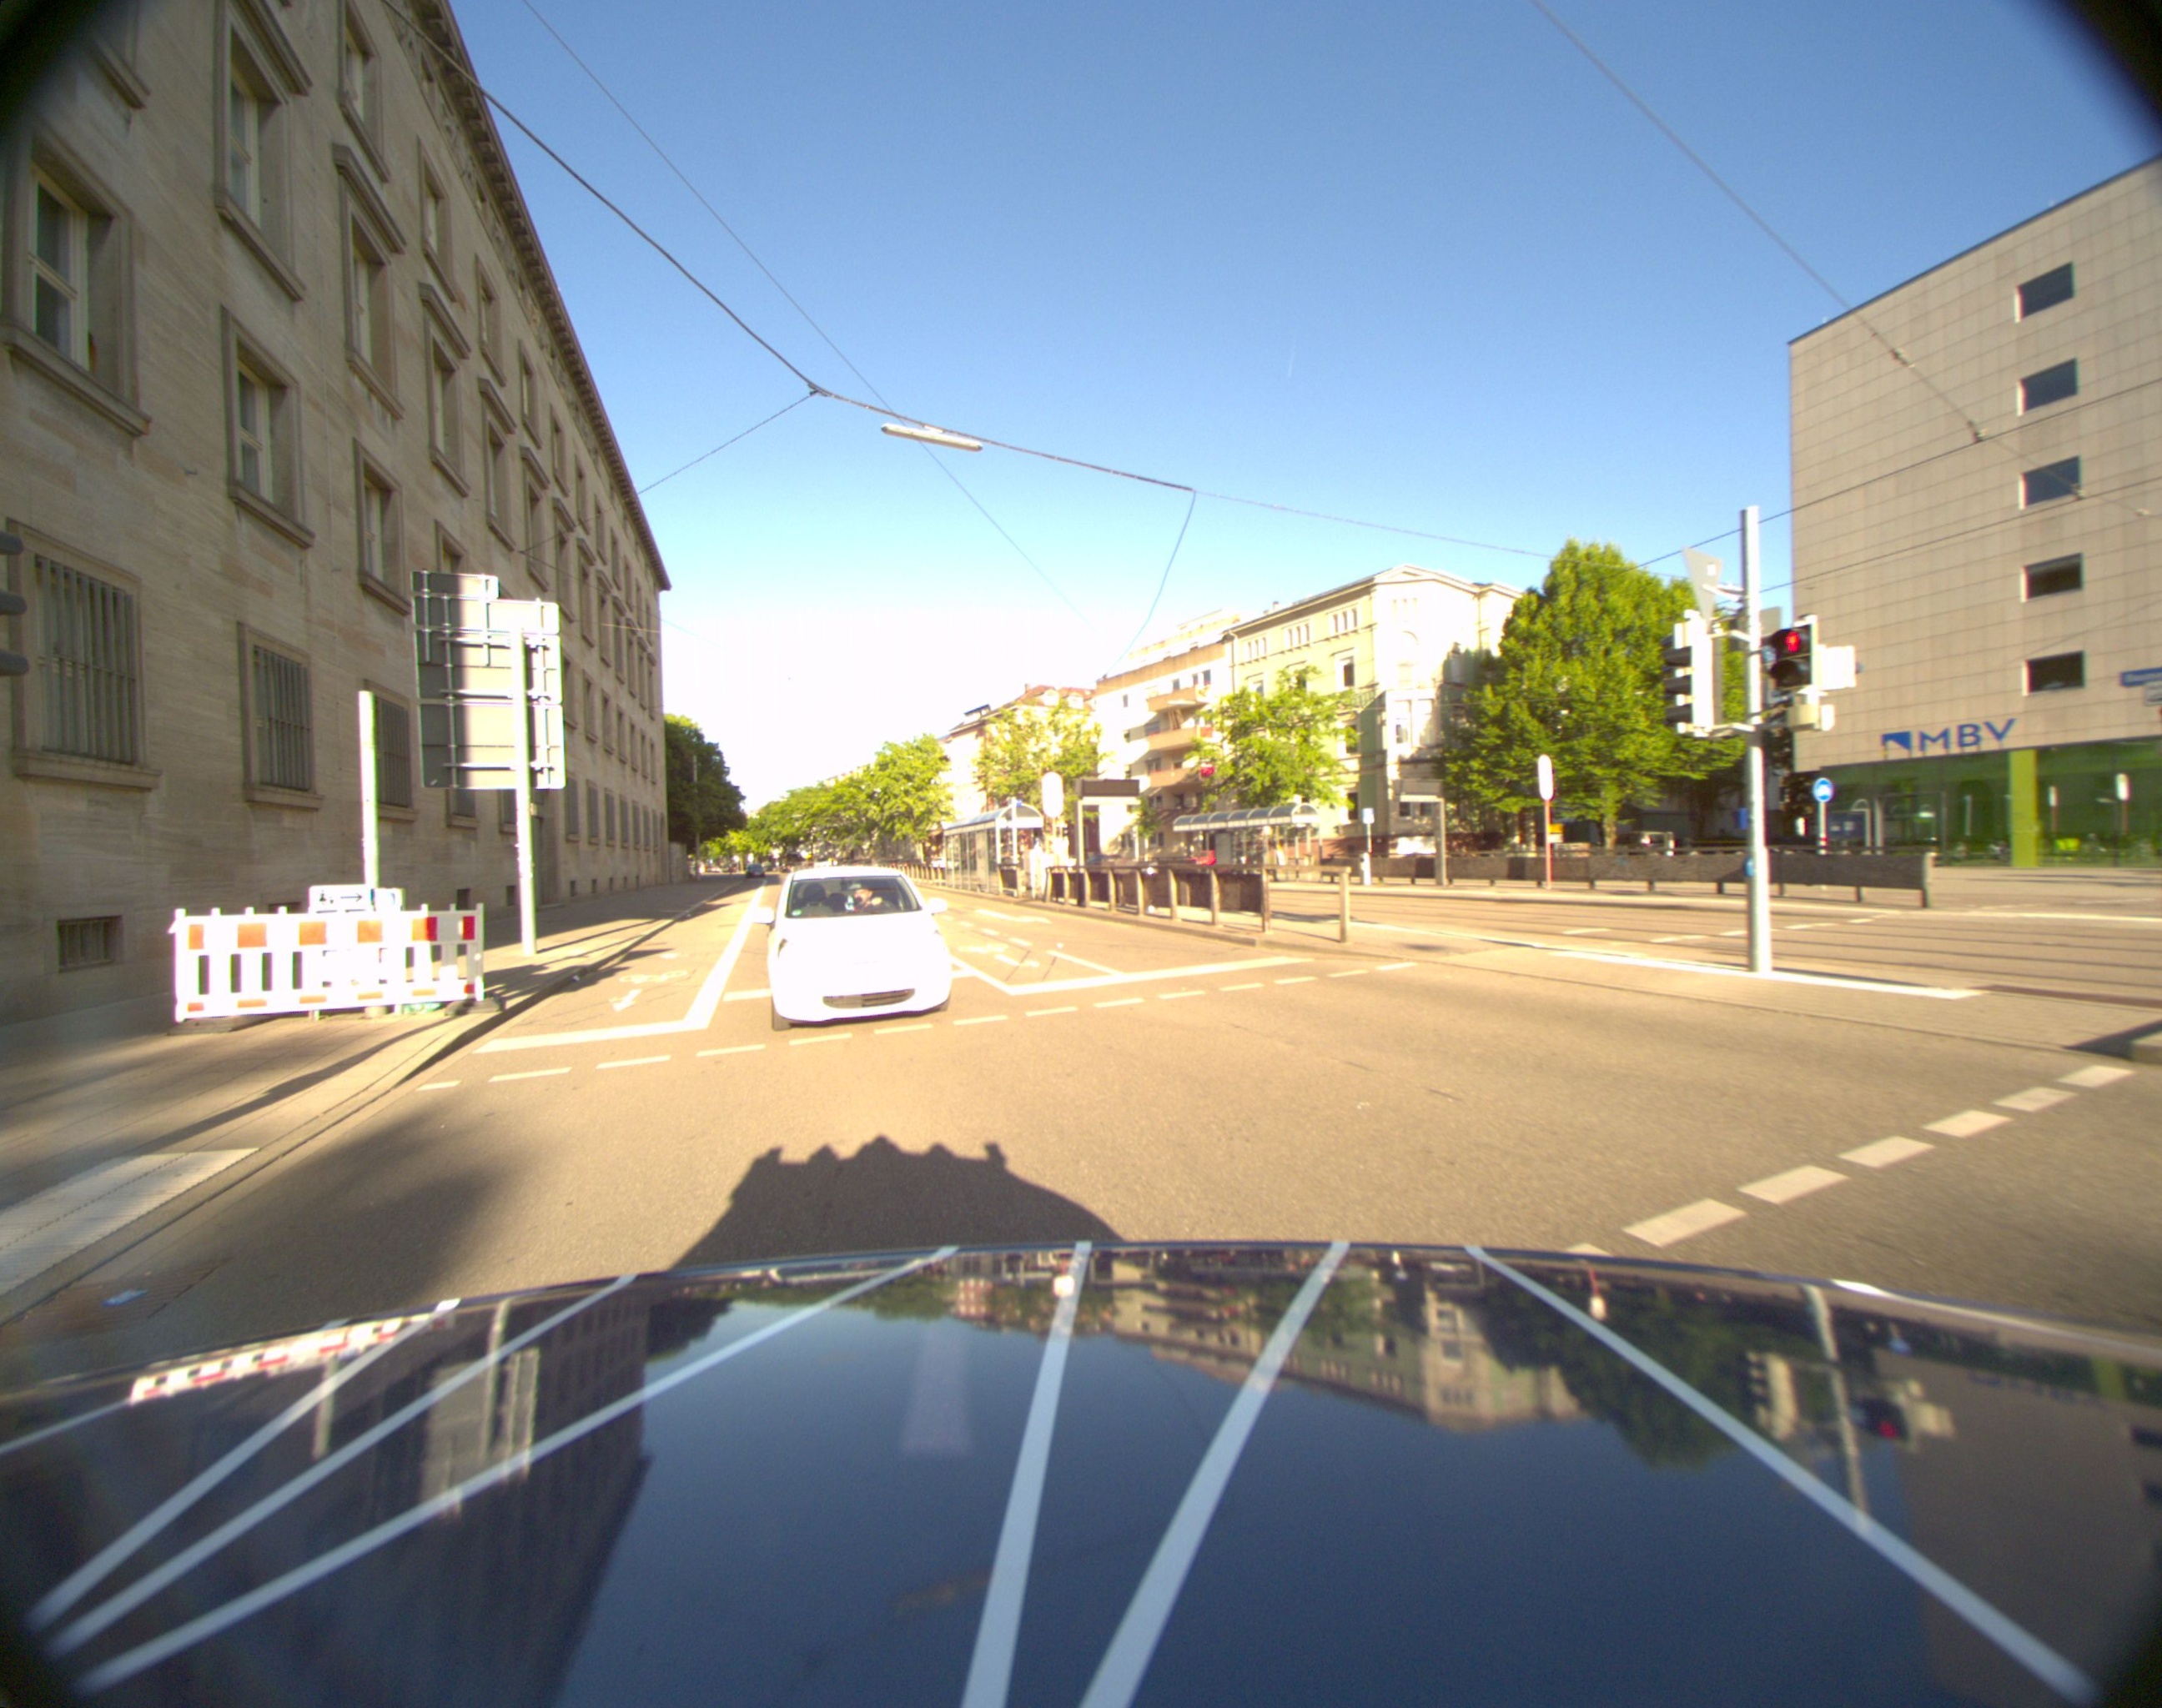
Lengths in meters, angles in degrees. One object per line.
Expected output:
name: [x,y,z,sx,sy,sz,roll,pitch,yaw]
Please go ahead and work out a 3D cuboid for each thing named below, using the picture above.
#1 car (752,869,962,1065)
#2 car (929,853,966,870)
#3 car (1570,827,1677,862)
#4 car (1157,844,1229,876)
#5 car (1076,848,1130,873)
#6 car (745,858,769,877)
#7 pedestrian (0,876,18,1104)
car: [-2.634,0.985,8.359,1.681,1.456,3.758,-4,1,-23]
car: [-13.827,0.748,79.073,1.736,1.576,4.005,-2,2,25]
car: [27.178,-0.448,38.219,1.742,1.576,3.991,-4,2,-26]
car: [6.574,0.330,44.440,4.006,1.576,1.736,-4,2,-36]
car: [1.540,0.453,53.784,1.743,1.576,3.990,-4,2,-34]
car: [-36.064,1.505,84.596,1.762,2.002,3.697,-2,0,-34]
pedestrian: [-7.804,0.943,4.847,0.739,1.611,0.917,3,-1,-22]
